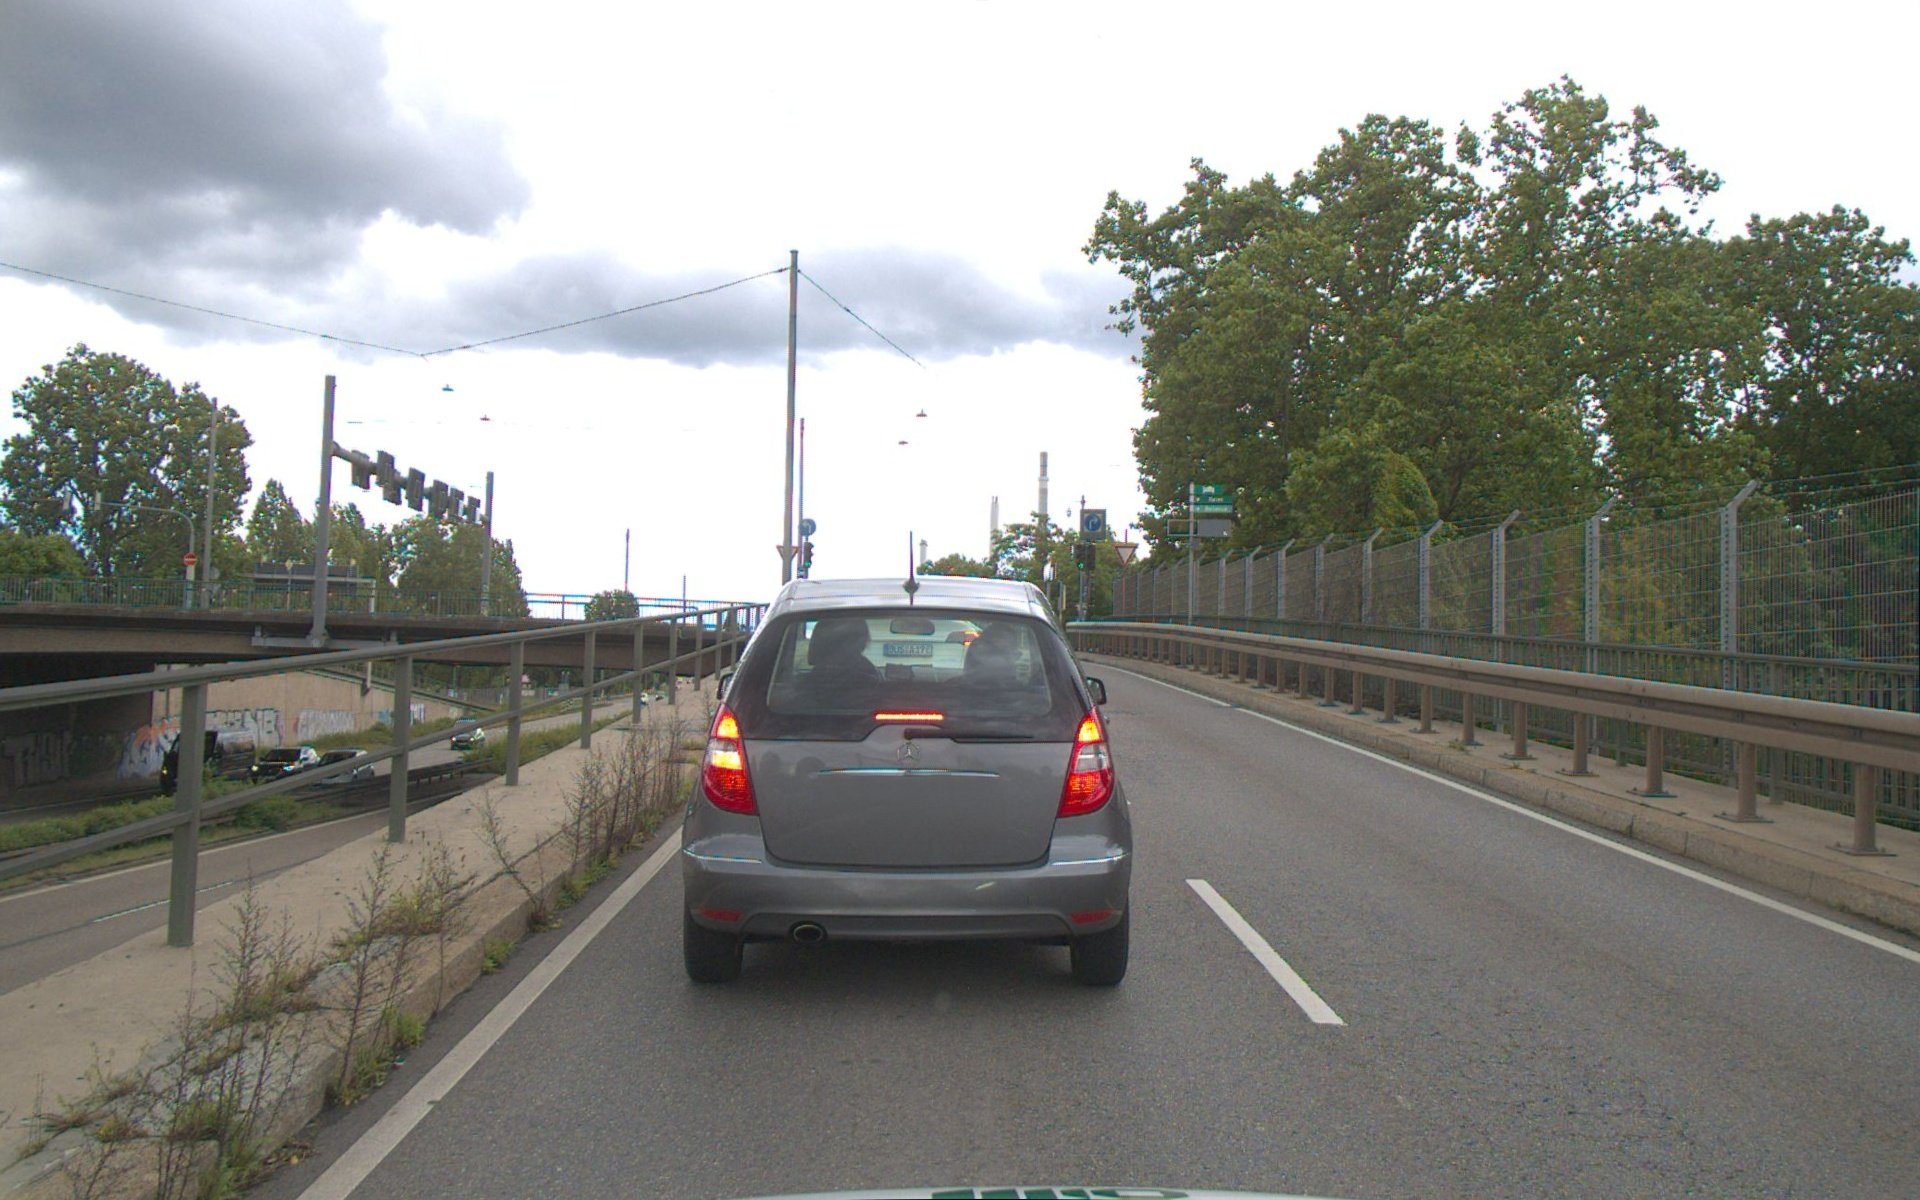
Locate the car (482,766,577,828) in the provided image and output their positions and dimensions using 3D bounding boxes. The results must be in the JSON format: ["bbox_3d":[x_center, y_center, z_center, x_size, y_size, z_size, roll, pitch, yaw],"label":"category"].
[{"bbox_3d":[-13.203,6.021,50.930,1.816,1.526,4.000,0,-2,1],"label":"car"}]

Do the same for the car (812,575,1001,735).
[{"bbox_3d":[-0.588,0.542,19.086,1.953,1.631,3.999,0,1,-1],"label":"car"}]

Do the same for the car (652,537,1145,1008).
[{"bbox_3d":[-0.028,0.669,7.797,1.713,1.608,4.086,0,-2,5],"label":"car"}]

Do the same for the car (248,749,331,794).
[{"bbox_3d":[-28.726,7.336,70.998,1.953,1.691,3.997,1,-4,-2],"label":"car"}]

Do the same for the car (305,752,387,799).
[{"bbox_3d":[-25.285,7.214,68.284,1.953,1.691,3.997,1,-4,-2],"label":"car"}]

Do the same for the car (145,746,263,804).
[{"bbox_3d":[-32.259,7.432,70.805,2.244,2.193,6.180,0,-4,-1],"label":"car"}]
